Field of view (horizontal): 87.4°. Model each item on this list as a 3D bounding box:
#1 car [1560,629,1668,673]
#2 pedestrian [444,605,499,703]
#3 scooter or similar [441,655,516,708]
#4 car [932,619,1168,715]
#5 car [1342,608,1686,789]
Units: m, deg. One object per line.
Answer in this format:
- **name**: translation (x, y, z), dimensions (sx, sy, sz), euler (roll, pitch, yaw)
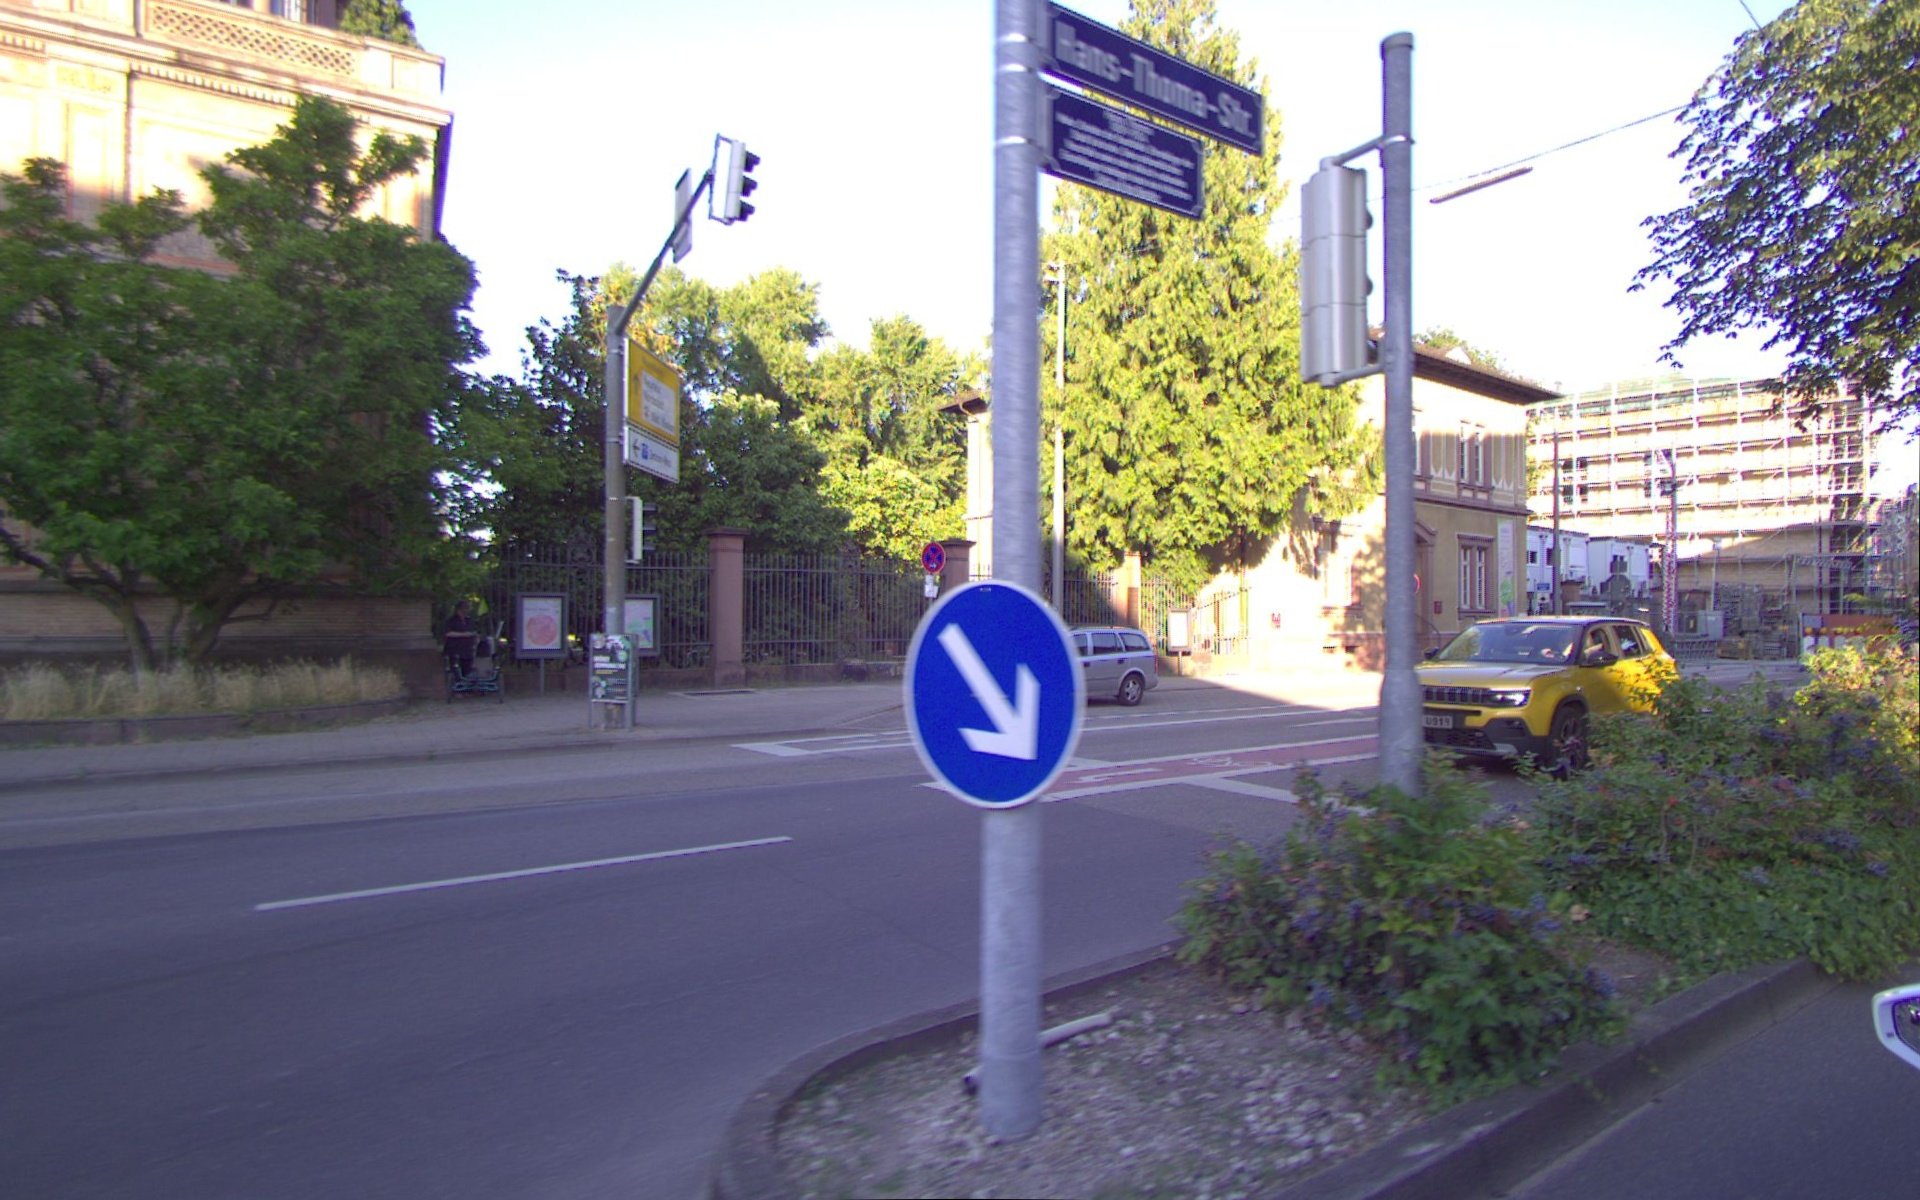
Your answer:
- **car**: translation (21.844, 1.683, 33.514), dimensions (3.847, 1.369, 1.669), euler (1, -3, -35)
- **pedestrian**: translation (-8.206, 0.883, 16.859), dimensions (0.754, 1.600, 0.731), euler (0, -1, -33)
- **scooter or similar**: translation (-7.779, 1.305, 16.231), dimensions (1.018, 0.788, 0.674), euler (1, -1, -34)
- **car**: translation (1.743, 1.165, 18.791), dimensions (4.327, 1.568, 1.733), euler (1, 0, -36)
- **car**: translation (6.020, 0.901, 10.736), dimensions (4.083, 1.568, 1.831), euler (1, -2, -39)
